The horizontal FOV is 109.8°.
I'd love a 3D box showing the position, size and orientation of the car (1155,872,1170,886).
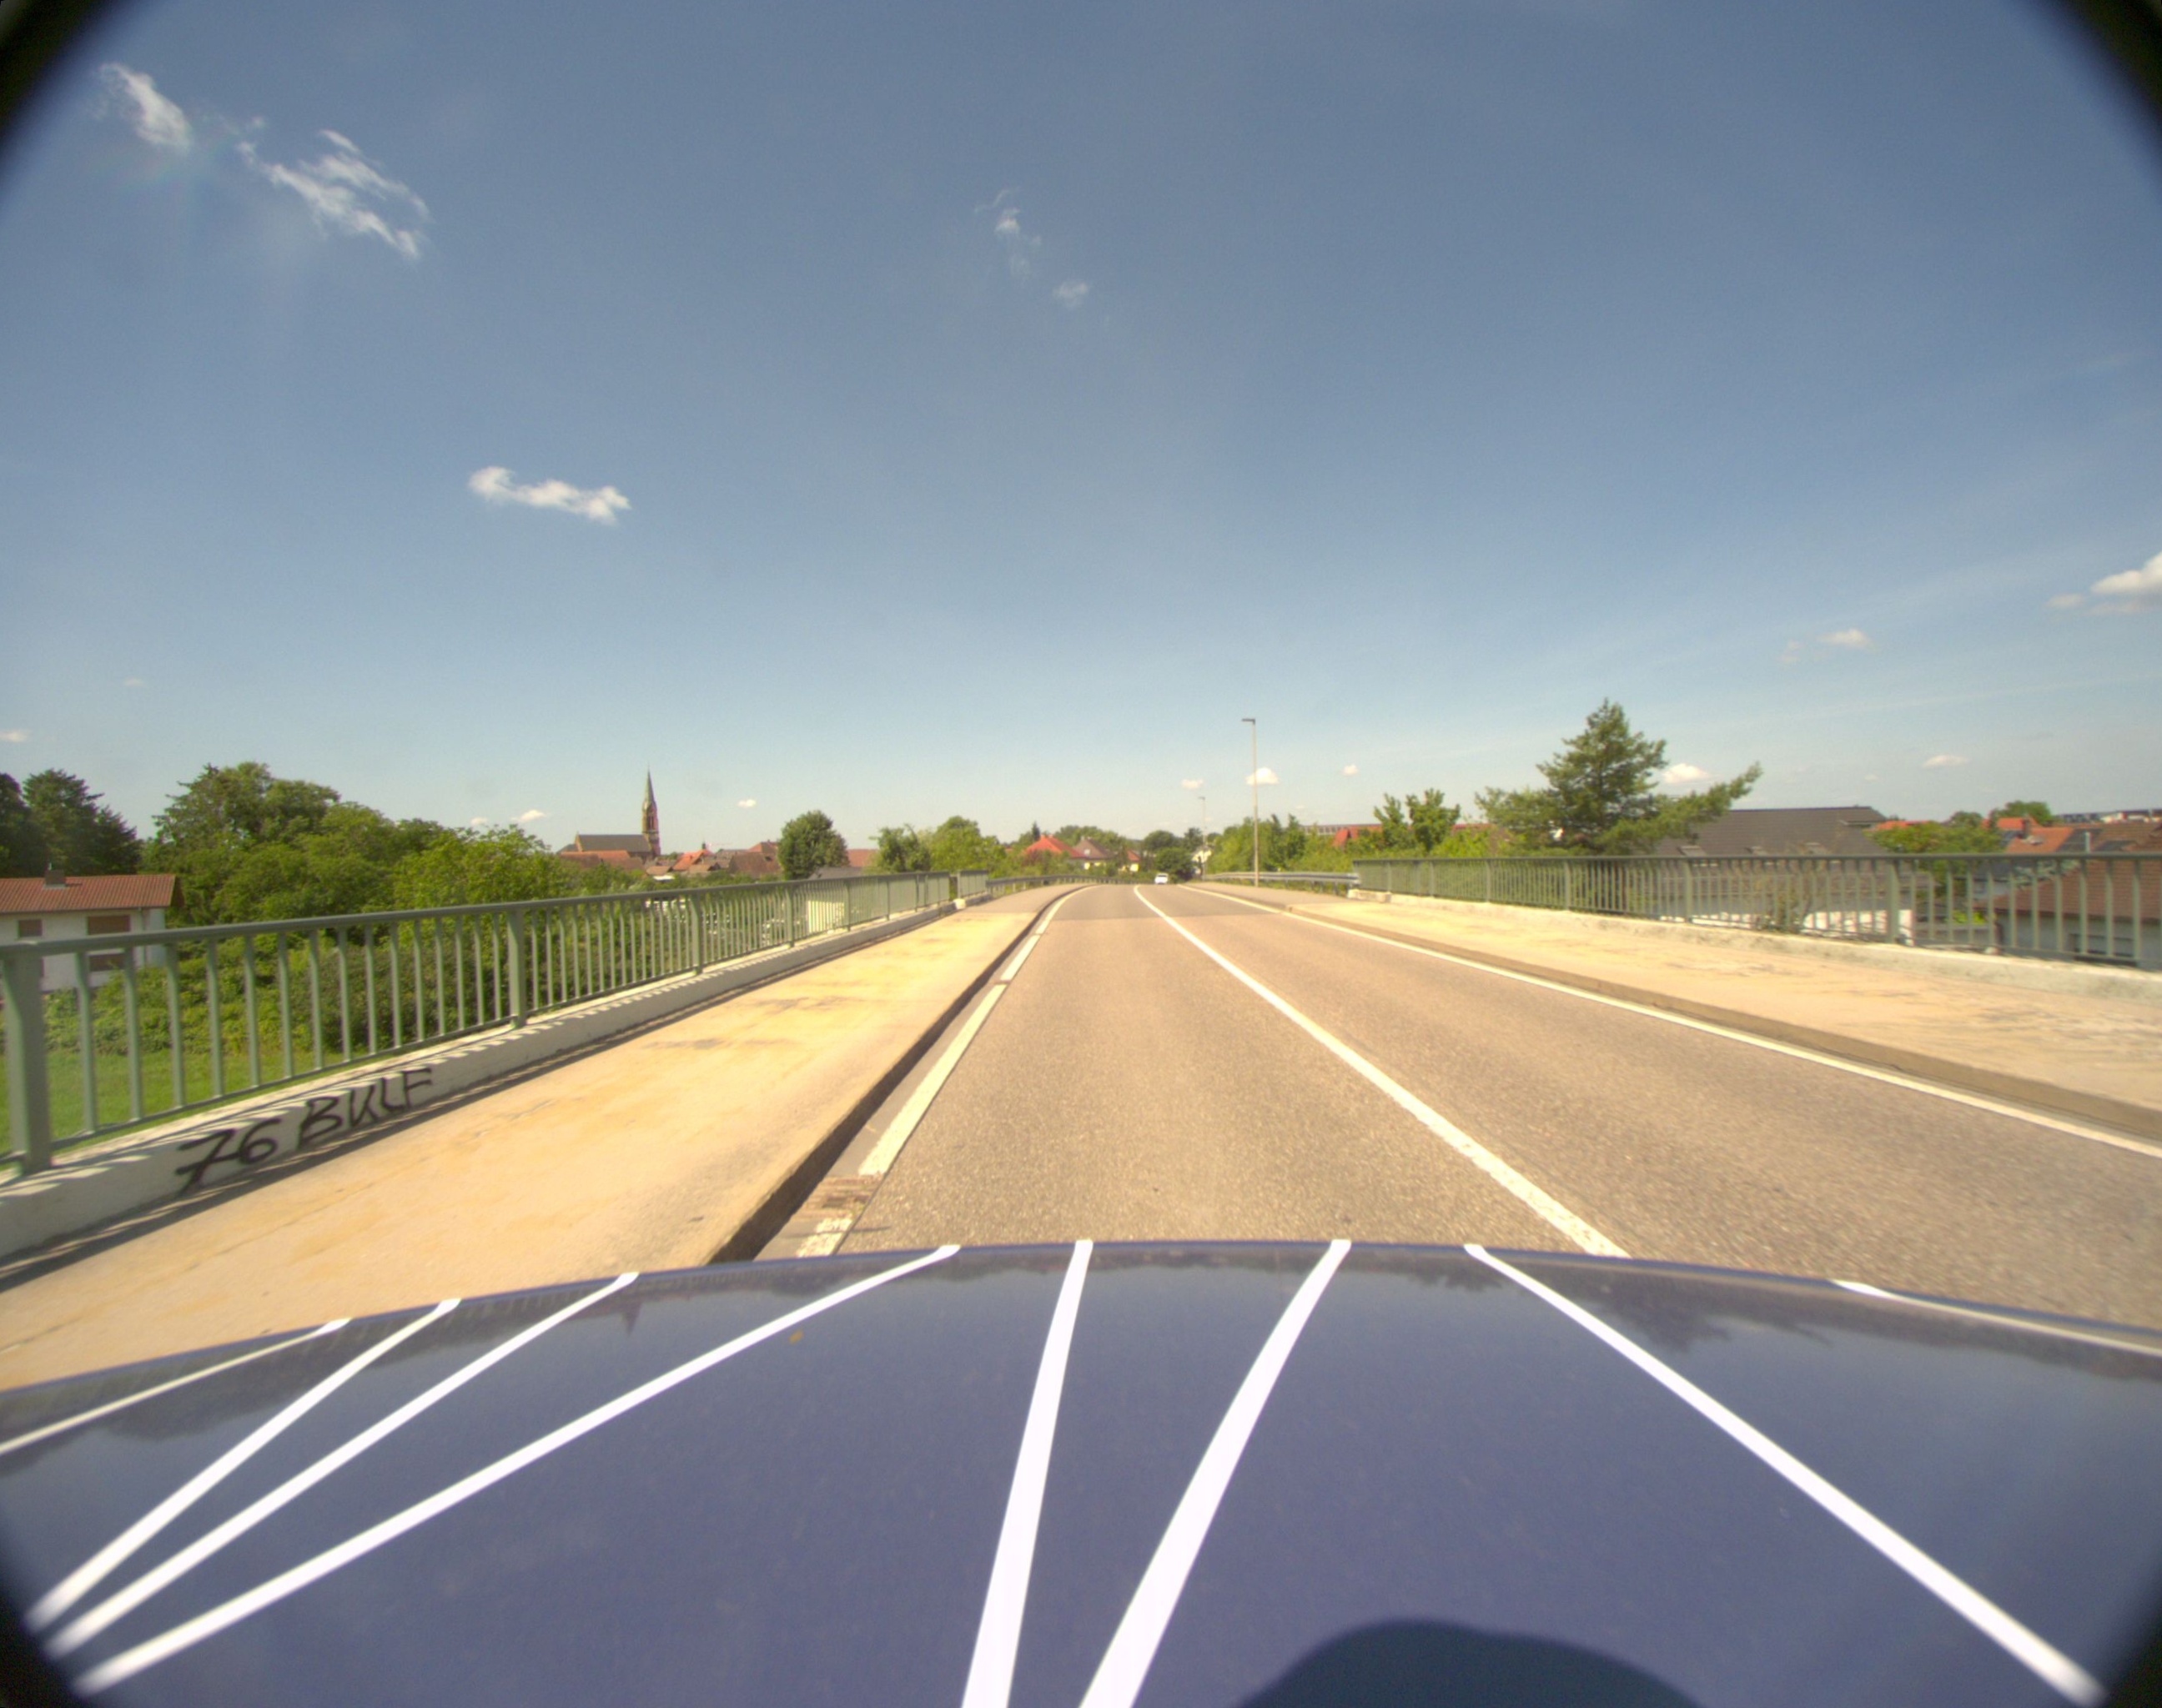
[{"bbox_3d":[12.292,3.804,114.781,2.092,1.751,4.282,-3,1,3],"label":"car"}]
